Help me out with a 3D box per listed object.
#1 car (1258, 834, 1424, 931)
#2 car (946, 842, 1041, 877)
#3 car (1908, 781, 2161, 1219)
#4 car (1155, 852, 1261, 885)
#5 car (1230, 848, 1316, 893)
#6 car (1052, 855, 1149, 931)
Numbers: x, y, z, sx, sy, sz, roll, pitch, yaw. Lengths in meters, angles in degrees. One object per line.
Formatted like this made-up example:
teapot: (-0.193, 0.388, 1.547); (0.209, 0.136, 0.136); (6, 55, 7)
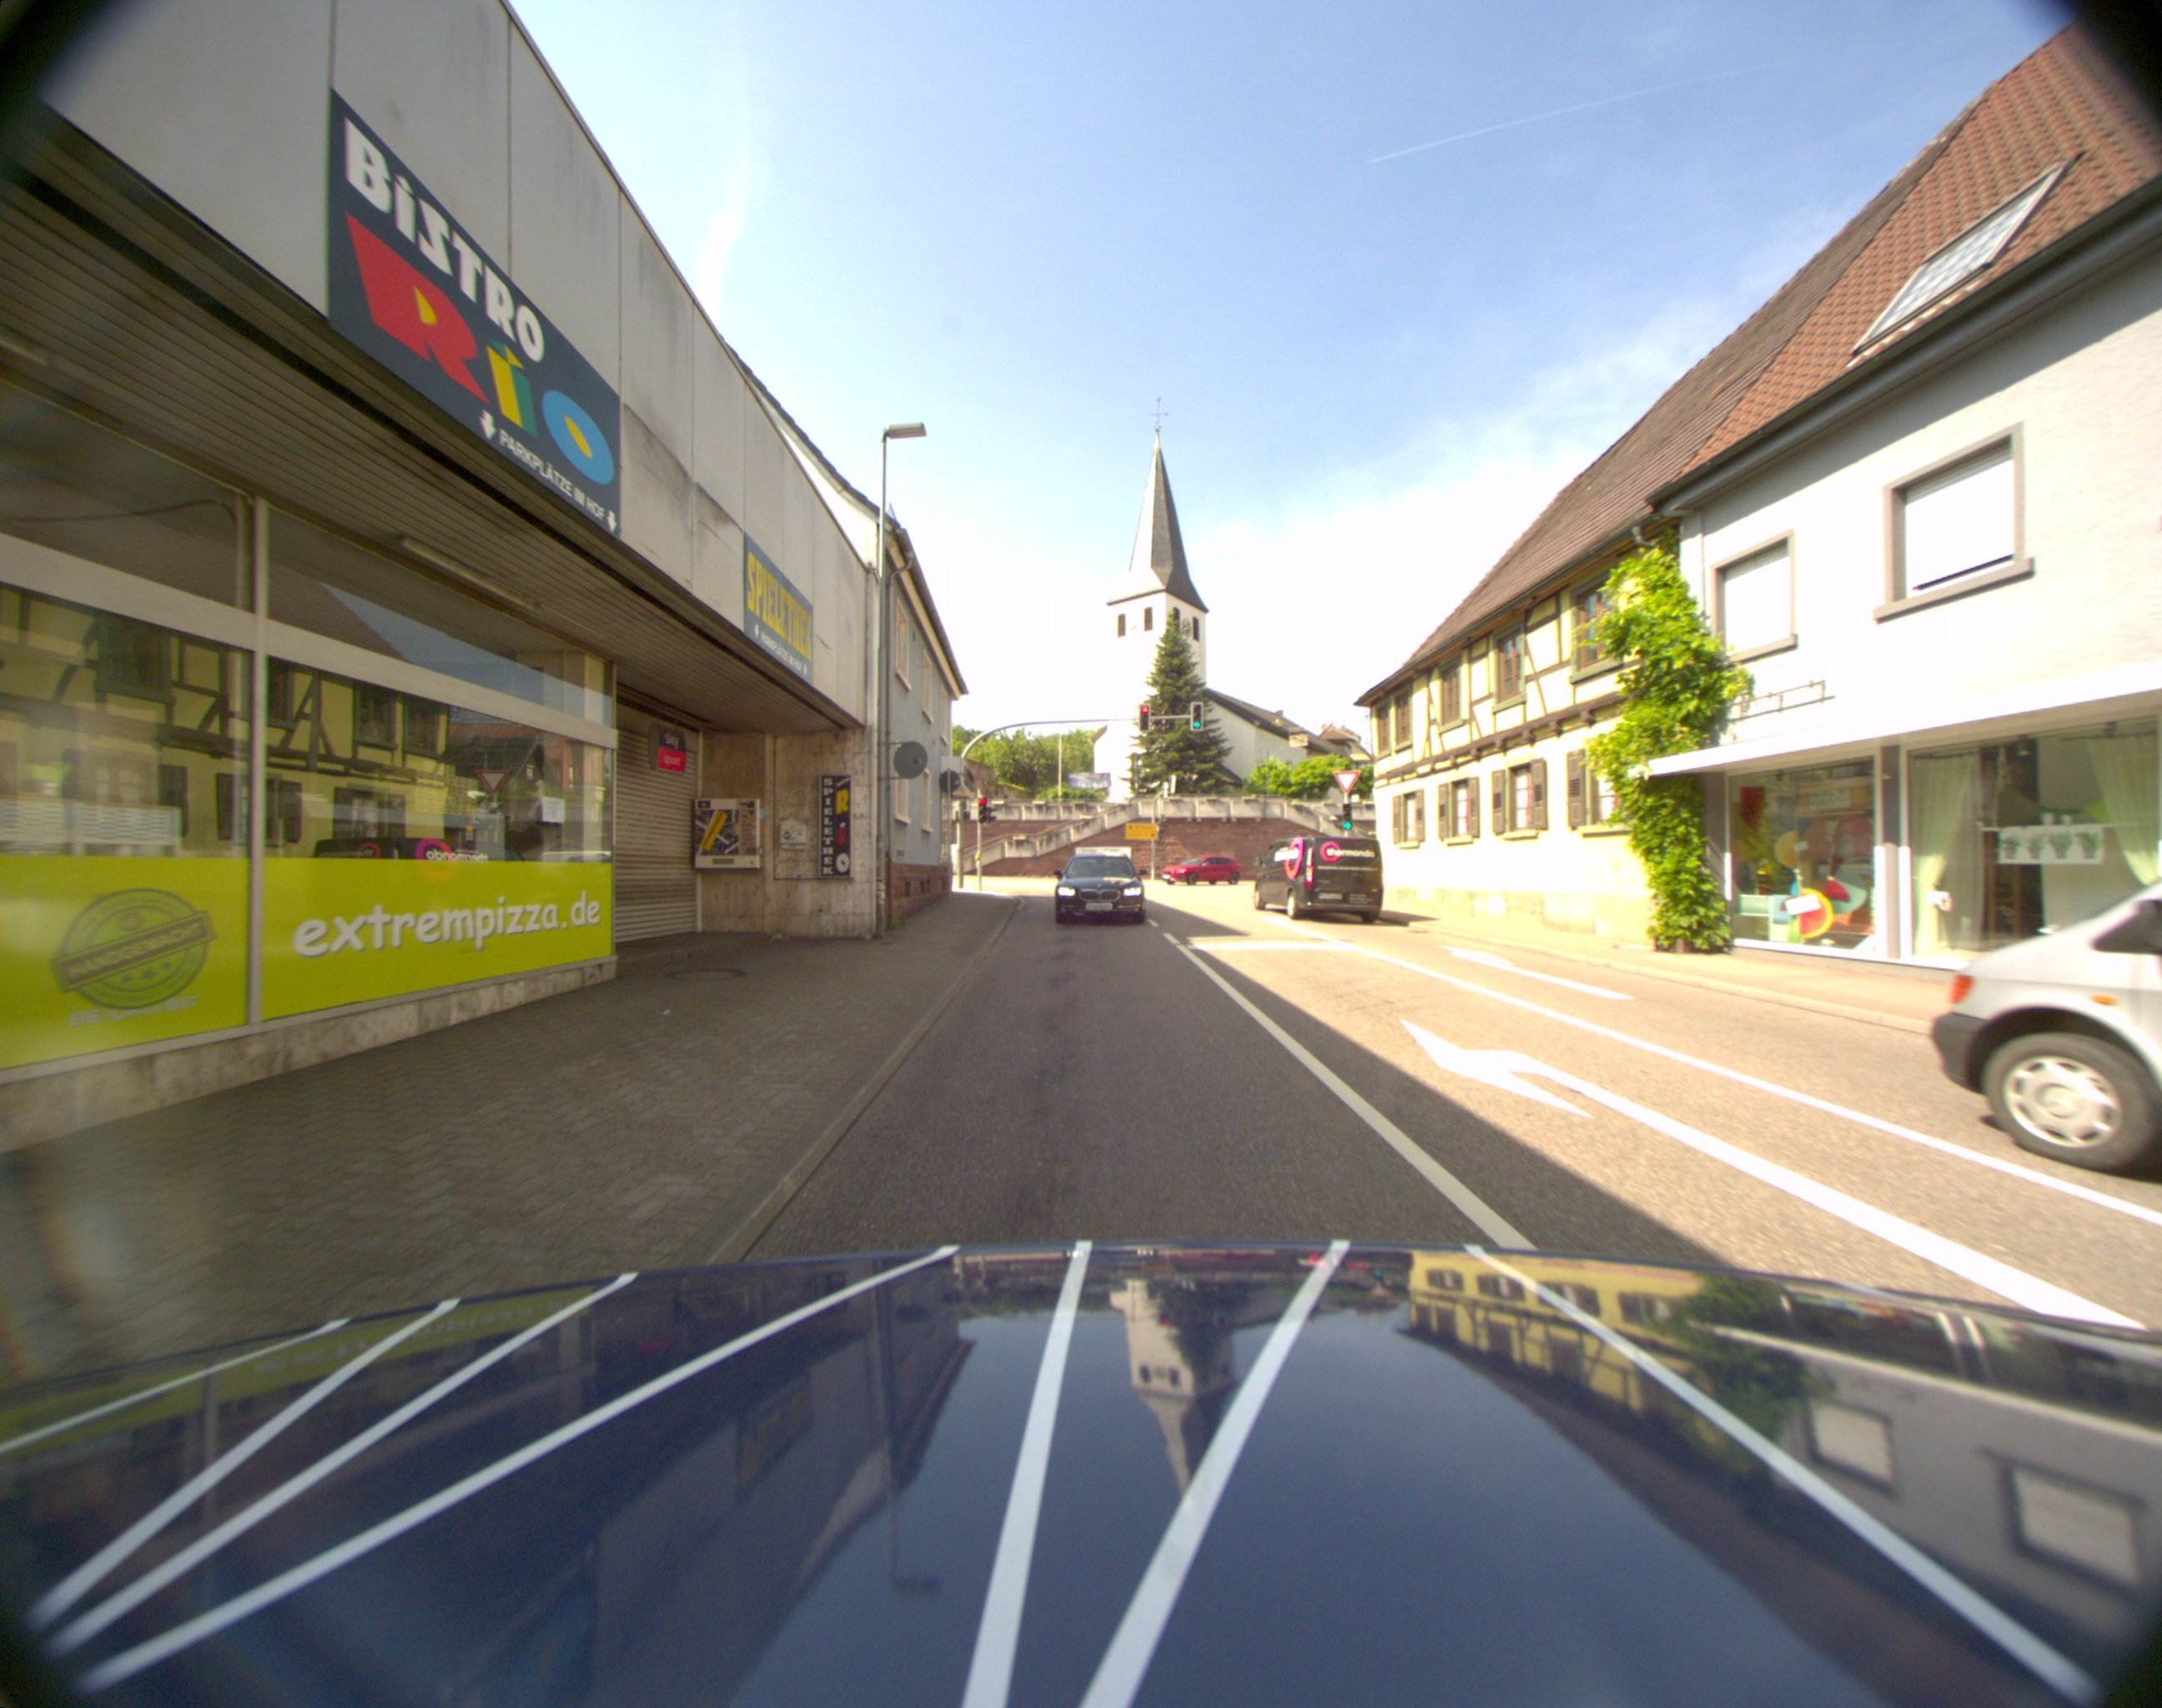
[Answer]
car: (5.939, 0.585, 18.207); (2.164, 1.912, 5.165); (3, 0, 0)
car: (-5.017, 0.329, 44.179); (5.273, 1.955, 2.144); (0, -1, 1)
car: (5.608, 0.659, 1.969); (1.888, 1.879, 4.551); (2, 0, 0)
car: (6.268, 0.651, 37.342); (4.955, 1.506, 2.161); (0, 1, -31)
car: (7.822, 0.624, 30.627); (1.755, 1.601, 4.438); (4, 2, 36)
car: (0.443, 0.746, 16.508); (1.825, 1.426, 4.249); (0, 0, 2)
